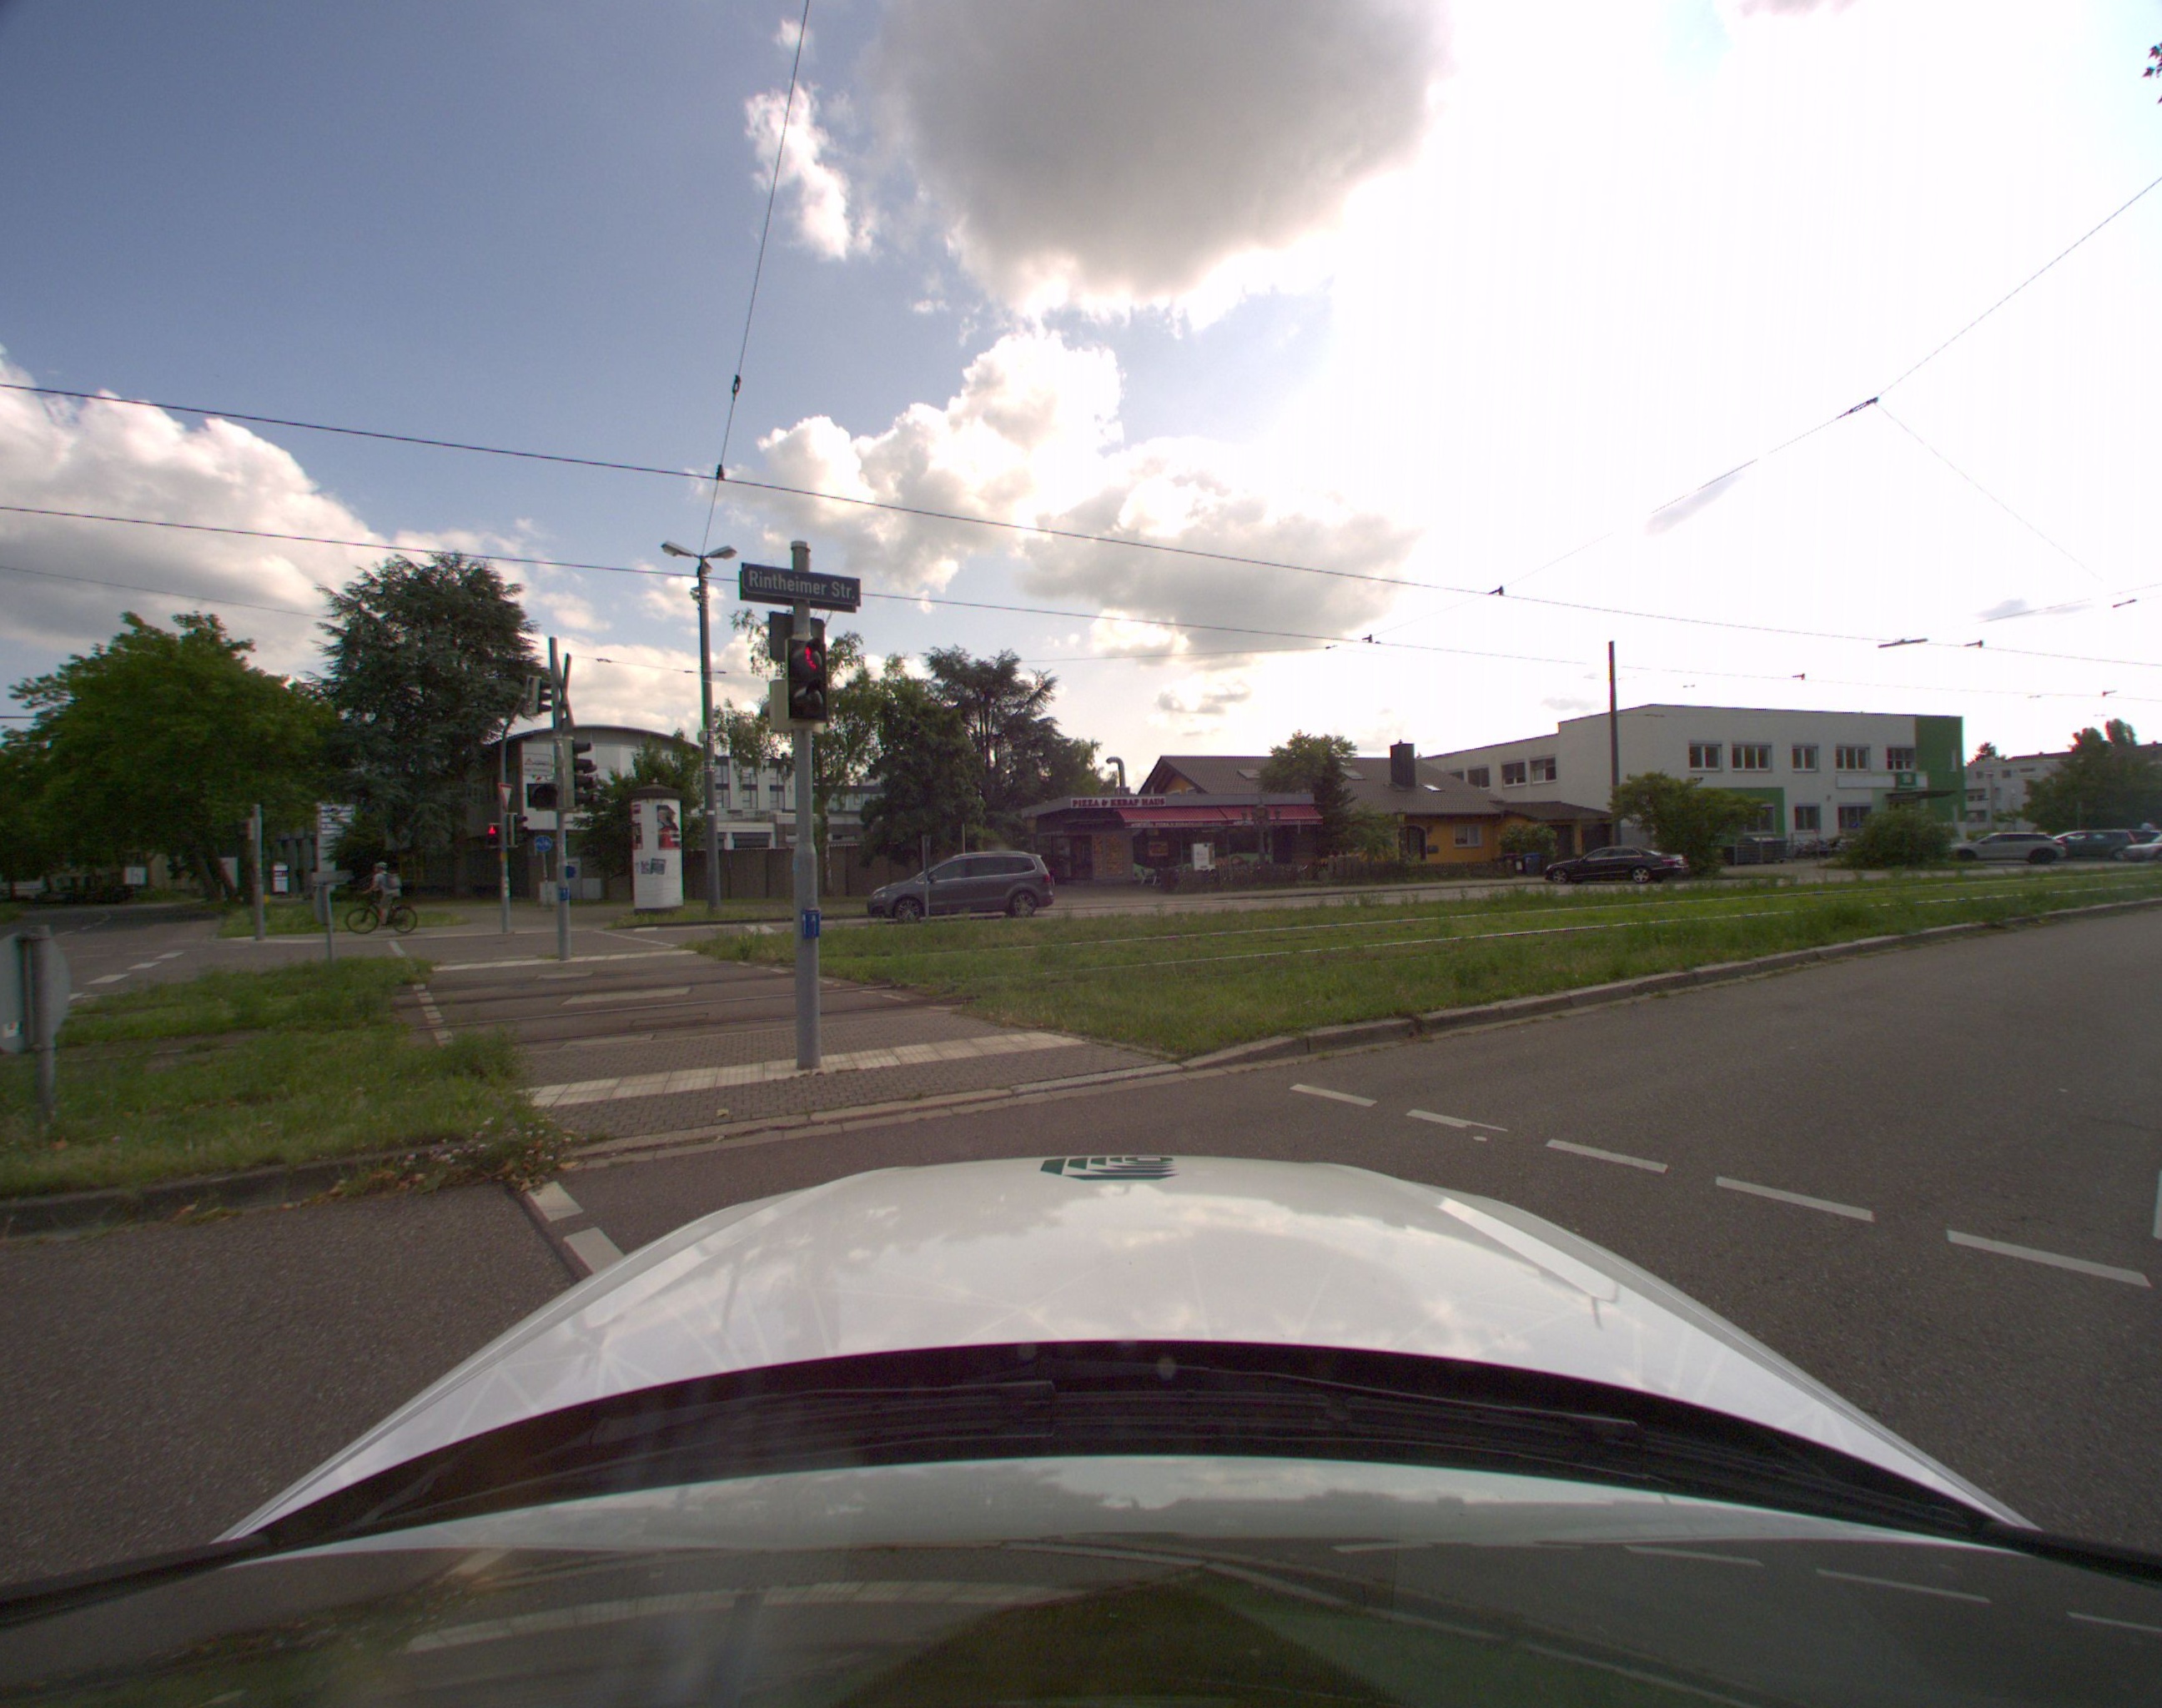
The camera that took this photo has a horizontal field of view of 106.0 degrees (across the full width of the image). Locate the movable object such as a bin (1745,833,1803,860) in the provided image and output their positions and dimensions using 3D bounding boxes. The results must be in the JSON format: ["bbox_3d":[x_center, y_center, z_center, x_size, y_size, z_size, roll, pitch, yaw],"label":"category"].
[{"bbox_3d":[37.378,-0.392,43.946,2.127,1.326,1.370,-2,0,-14],"label":"movable object such as a bin"}]

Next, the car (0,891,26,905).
[{"bbox_3d":[-140.815,5.739,107.240,3.948,1.574,2.013,0,2,34],"label":"car"}]

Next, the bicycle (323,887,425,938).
[{"bbox_3d":[-18.783,1.532,21.676,1.953,1.235,0.537,-1,1,-22],"label":"bicycle"}]

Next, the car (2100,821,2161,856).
[{"bbox_3d":[51.392,-0.762,38.097,4.265,1.629,1.912,-1,0,20],"label":"car"}]

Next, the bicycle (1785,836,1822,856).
[{"bbox_3d":[43.113,-0.450,48.612,0.701,1.166,1.620,-2,0,0],"label":"bicycle"}]

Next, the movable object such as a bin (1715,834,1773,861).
[{"bbox_3d":[35.276,-0.353,43.343,2.113,1.326,1.370,-2,0,-14],"label":"movable object such as a bin"}]

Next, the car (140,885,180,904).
[{"bbox_3d":[-88.646,3.836,78.391,3.948,1.574,2.013,0,2,34],"label":"car"}]

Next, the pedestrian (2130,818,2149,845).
[{"bbox_3d":[67.721,-1.439,52.091,0.542,1.674,0.592,-2,-1,-26],"label":"pedestrian"}]

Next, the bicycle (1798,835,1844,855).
[{"bbox_3d":[42.606,-0.497,46.919,0.736,1.081,1.785,-2,0,-19],"label":"bicycle"}]

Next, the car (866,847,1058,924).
[{"bbox_3d":[-3.166,0.775,21.372,4.735,1.722,1.989,-2,0,-16],"label":"car"}]

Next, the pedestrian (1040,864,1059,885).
[{"bbox_3d":[-1.450,0.931,37.240,0.725,0.929,0.774,-1,1,-12],"label":"pedestrian"}]

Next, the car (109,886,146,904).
[{"bbox_3d":[-98.717,4.240,84.284,3.948,1.574,2.013,0,2,34],"label":"car"}]

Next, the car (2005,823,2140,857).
[{"bbox_3d":[51.361,-0.708,42.349,4.261,1.629,1.913,-1,0,45],"label":"car"}]

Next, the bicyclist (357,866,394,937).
[{"bbox_3d":[-18.769,1.249,21.675,0.545,1.809,0.537,-1,1,-21],"label":"bicyclist"}]

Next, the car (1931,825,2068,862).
[{"bbox_3d":[45.570,-0.498,40.557,4.259,1.629,1.914,-2,0,40],"label":"car"}]

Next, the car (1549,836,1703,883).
[{"bbox_3d":[20.992,0.251,31.538,2.009,1.580,4.528,-2,-1,-37],"label":"car"}]

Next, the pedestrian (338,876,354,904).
[{"bbox_3d":[-43.053,2.108,47.704,0.552,1.569,0.626,0,2,45],"label":"pedestrian"}]

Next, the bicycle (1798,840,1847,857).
[{"bbox_3d":[44.599,-0.309,49.010,0.729,0.970,2.150,-2,0,-13],"label":"bicycle"}]

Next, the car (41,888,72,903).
[{"bbox_3d":[-128.178,5.215,101.888,3.948,1.574,2.013,0,2,34],"label":"car"}]

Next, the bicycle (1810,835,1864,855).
[{"bbox_3d":[45.526,-0.519,49.067,0.758,1.166,2.342,-2,0,-11],"label":"bicycle"}]

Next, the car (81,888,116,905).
[{"bbox_3d":[-106.197,4.554,88.006,3.948,1.574,2.013,0,2,34],"label":"car"}]
